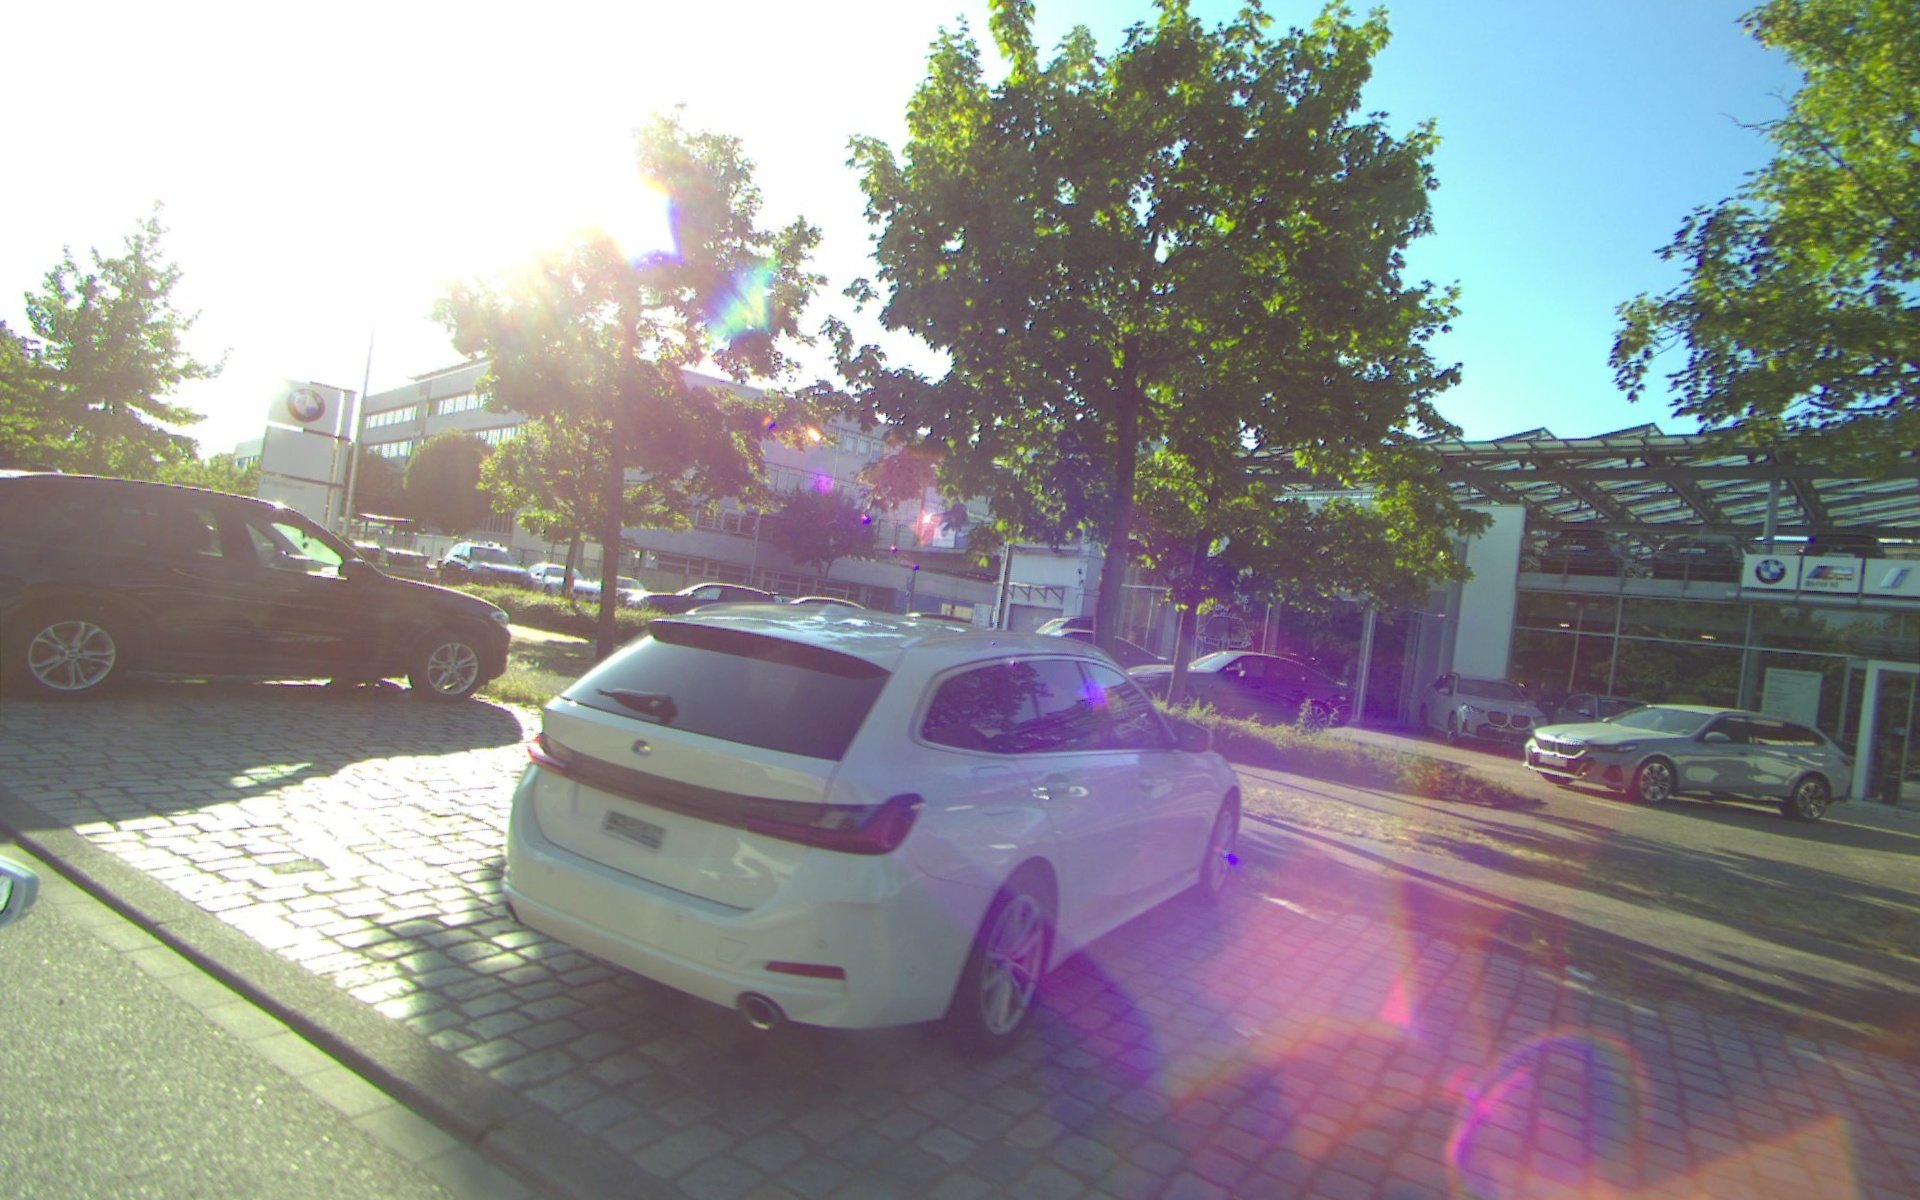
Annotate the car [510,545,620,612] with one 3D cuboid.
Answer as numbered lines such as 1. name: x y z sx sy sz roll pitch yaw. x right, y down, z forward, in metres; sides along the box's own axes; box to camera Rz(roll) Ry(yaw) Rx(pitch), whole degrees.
1. car: -14.194 -0.797 36.021 2.026 1.849 4.506 9 -1 -42

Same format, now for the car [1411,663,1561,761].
1. car: 12.344 2.553 23.979 1.962 1.795 4.794 8 -1 15

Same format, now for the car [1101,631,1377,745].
1. car: 5.408 1.700 19.697 4.714 1.481 1.995 8 -1 -13

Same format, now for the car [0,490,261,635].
1. car: -11.264 -0.572 11.832 2.000 1.420 4.490 8 -2 31

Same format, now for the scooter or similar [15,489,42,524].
1. scooter or similar: -37.340 -3.750 40.322 1.182 1.287 0.520 8 1 37

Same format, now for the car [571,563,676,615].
1. car: -12.930 -0.441 38.490 2.026 1.449 4.506 9 -1 -42

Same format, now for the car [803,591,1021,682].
1. car: -1.164 0.858 23.930 4.720 1.481 1.993 8 -1 -18

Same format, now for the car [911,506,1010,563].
1. car: 0.001 -3.083 47.095 4.145 2.124 1.993 7 -3 44

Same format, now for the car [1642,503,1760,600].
1. car: 19.351 -1.224 26.191 1.764 1.684 3.983 7 -4 45

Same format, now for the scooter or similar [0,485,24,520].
1. scooter or similar: -38.912 -3.981 41.201 1.366 1.287 0.520 7 0 37

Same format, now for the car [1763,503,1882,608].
1. car: 20.919 -1.041 24.348 1.764 1.684 3.983 7 -4 45

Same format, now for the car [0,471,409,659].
1. car: -9.006 -0.371 11.228 2.000 1.568 4.489 8 -2 33

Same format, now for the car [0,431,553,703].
1. car: -6.467 -0.190 8.966 2.157 1.771 4.699 7 -2 36

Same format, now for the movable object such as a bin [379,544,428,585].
1. movable object such as a bin: -20.108 -1.278 36.384 1.022 1.283 1.117 7 -1 38

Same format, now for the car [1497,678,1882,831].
1. car: 11.517 2.424 15.978 5.110 1.590 1.995 8 -1 -13

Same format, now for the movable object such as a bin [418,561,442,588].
1. movable object such as a bin: -19.718 -0.950 37.436 0.596 0.932 0.504 7 -1 42

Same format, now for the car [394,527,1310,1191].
1. car: 0.144 0.764 4.987 1.966 1.497 4.701 7 0 31

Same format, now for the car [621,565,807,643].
1. car: -6.806 0.114 27.910 4.720 1.481 1.992 8 -1 -18

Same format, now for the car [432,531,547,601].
1. car: -16.089 -1.202 34.254 2.026 1.849 4.916 9 -1 -42

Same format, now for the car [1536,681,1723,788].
1. car: 15.124 2.951 23.094 1.962 1.795 4.794 8 -1 15

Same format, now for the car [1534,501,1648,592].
1. car: 17.570 -1.450 27.930 1.764 1.684 3.985 8 -4 44

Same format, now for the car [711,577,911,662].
1. car: -3.856 0.497 25.911 4.720 1.481 2.039 8 -1 -18

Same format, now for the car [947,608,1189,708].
1. car: 2.324 1.253 21.918 4.720 1.481 1.993 8 -1 -18

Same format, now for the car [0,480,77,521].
1. car: -63.827 -6.883 68.748 4.865 1.956 2.000 9 -1 -1

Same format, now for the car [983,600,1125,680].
1. car: 3.134 1.338 33.815 4.122 2.037 1.992 9 -1 -18
